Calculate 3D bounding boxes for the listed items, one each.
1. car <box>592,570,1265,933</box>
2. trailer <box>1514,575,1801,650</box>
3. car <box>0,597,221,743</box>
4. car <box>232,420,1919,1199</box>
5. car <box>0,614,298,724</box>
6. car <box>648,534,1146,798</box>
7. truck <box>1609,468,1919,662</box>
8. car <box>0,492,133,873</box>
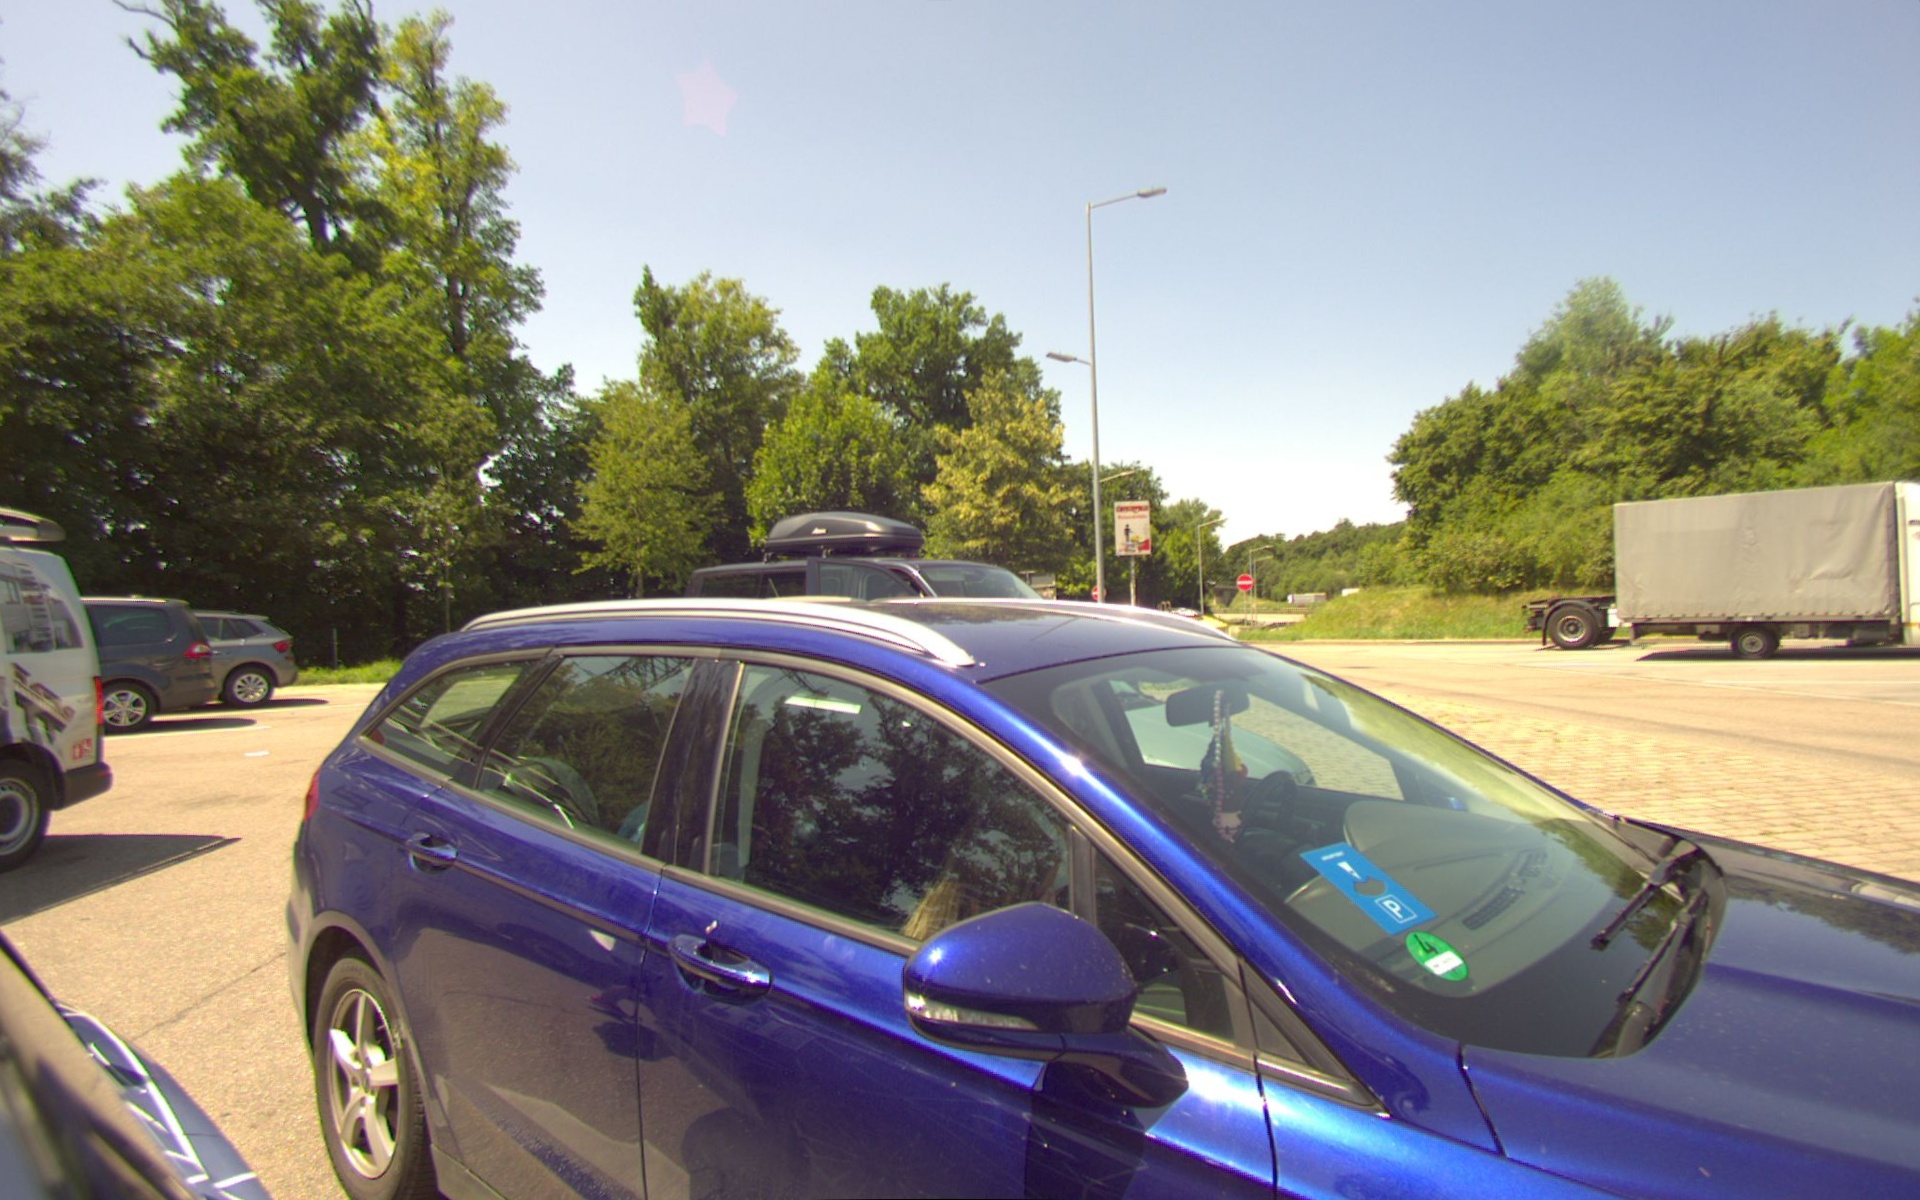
[{"bbox_3d":[-0.381,0.651,5.809,3.739,1.424,1.587,-2,-1,40],"label":"car"},{"bbox_3d":[16.316,0.344,23.919,5.393,1.608,1.576,-2,-1,41],"label":"trailer"},{"bbox_3d":[-11.717,0.838,12.603,3.830,1.703,1.883,0,-2,-45],"label":"car"},{"bbox_3d":[0.223,0.652,2.088,4.427,1.455,1.763,-2,-1,40],"label":"car"},{"bbox_3d":[-12.612,0.974,15.617,3.753,1.488,1.743,0,-1,-45],"label":"car"},{"bbox_3d":[-0.748,0.535,9.420,4.427,1.875,2.022,-2,-1,40],"label":"car"},{"bbox_3d":[16.695,-0.620,18.846,7.308,3.258,2.294,-5,-2,43],"label":"truck"},{"bbox_3d":[-6.287,0.458,4.058,1.969,2.166,5.319,-2,-1,-5],"label":"car"}]
